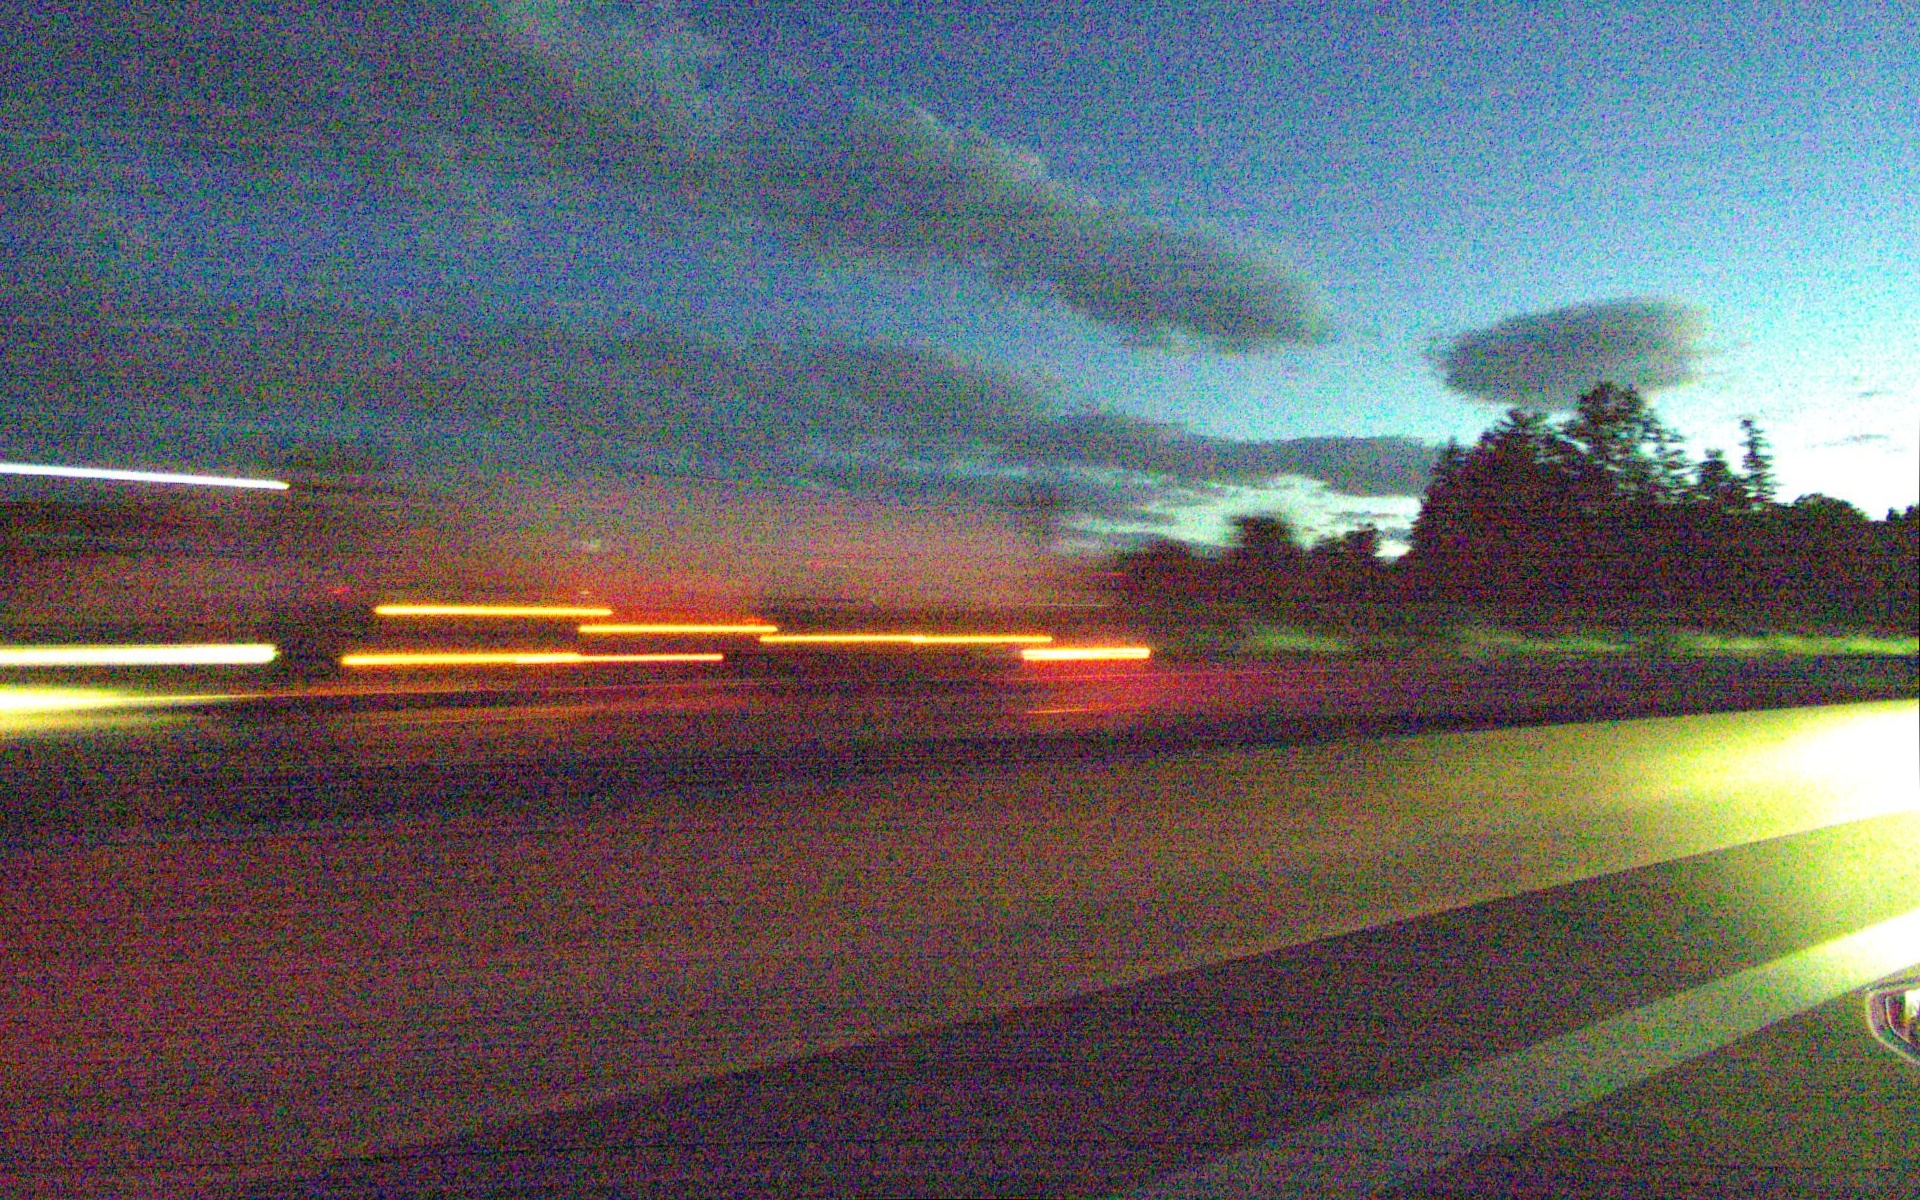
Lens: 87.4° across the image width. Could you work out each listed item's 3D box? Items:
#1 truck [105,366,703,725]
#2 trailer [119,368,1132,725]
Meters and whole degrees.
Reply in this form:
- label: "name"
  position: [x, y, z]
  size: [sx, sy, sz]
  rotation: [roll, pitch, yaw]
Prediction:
- label: "truck"
  position: [-7.531, -0.546, 14.518]
  size: [6.694, 4.060, 3.421]
  rotation: [2, 0, -29]
- label: "trailer"
  position: [-4.000, -0.444, 16.532]
  size: [14.582, 4.060, 3.421]
  rotation: [2, 0, -30]
